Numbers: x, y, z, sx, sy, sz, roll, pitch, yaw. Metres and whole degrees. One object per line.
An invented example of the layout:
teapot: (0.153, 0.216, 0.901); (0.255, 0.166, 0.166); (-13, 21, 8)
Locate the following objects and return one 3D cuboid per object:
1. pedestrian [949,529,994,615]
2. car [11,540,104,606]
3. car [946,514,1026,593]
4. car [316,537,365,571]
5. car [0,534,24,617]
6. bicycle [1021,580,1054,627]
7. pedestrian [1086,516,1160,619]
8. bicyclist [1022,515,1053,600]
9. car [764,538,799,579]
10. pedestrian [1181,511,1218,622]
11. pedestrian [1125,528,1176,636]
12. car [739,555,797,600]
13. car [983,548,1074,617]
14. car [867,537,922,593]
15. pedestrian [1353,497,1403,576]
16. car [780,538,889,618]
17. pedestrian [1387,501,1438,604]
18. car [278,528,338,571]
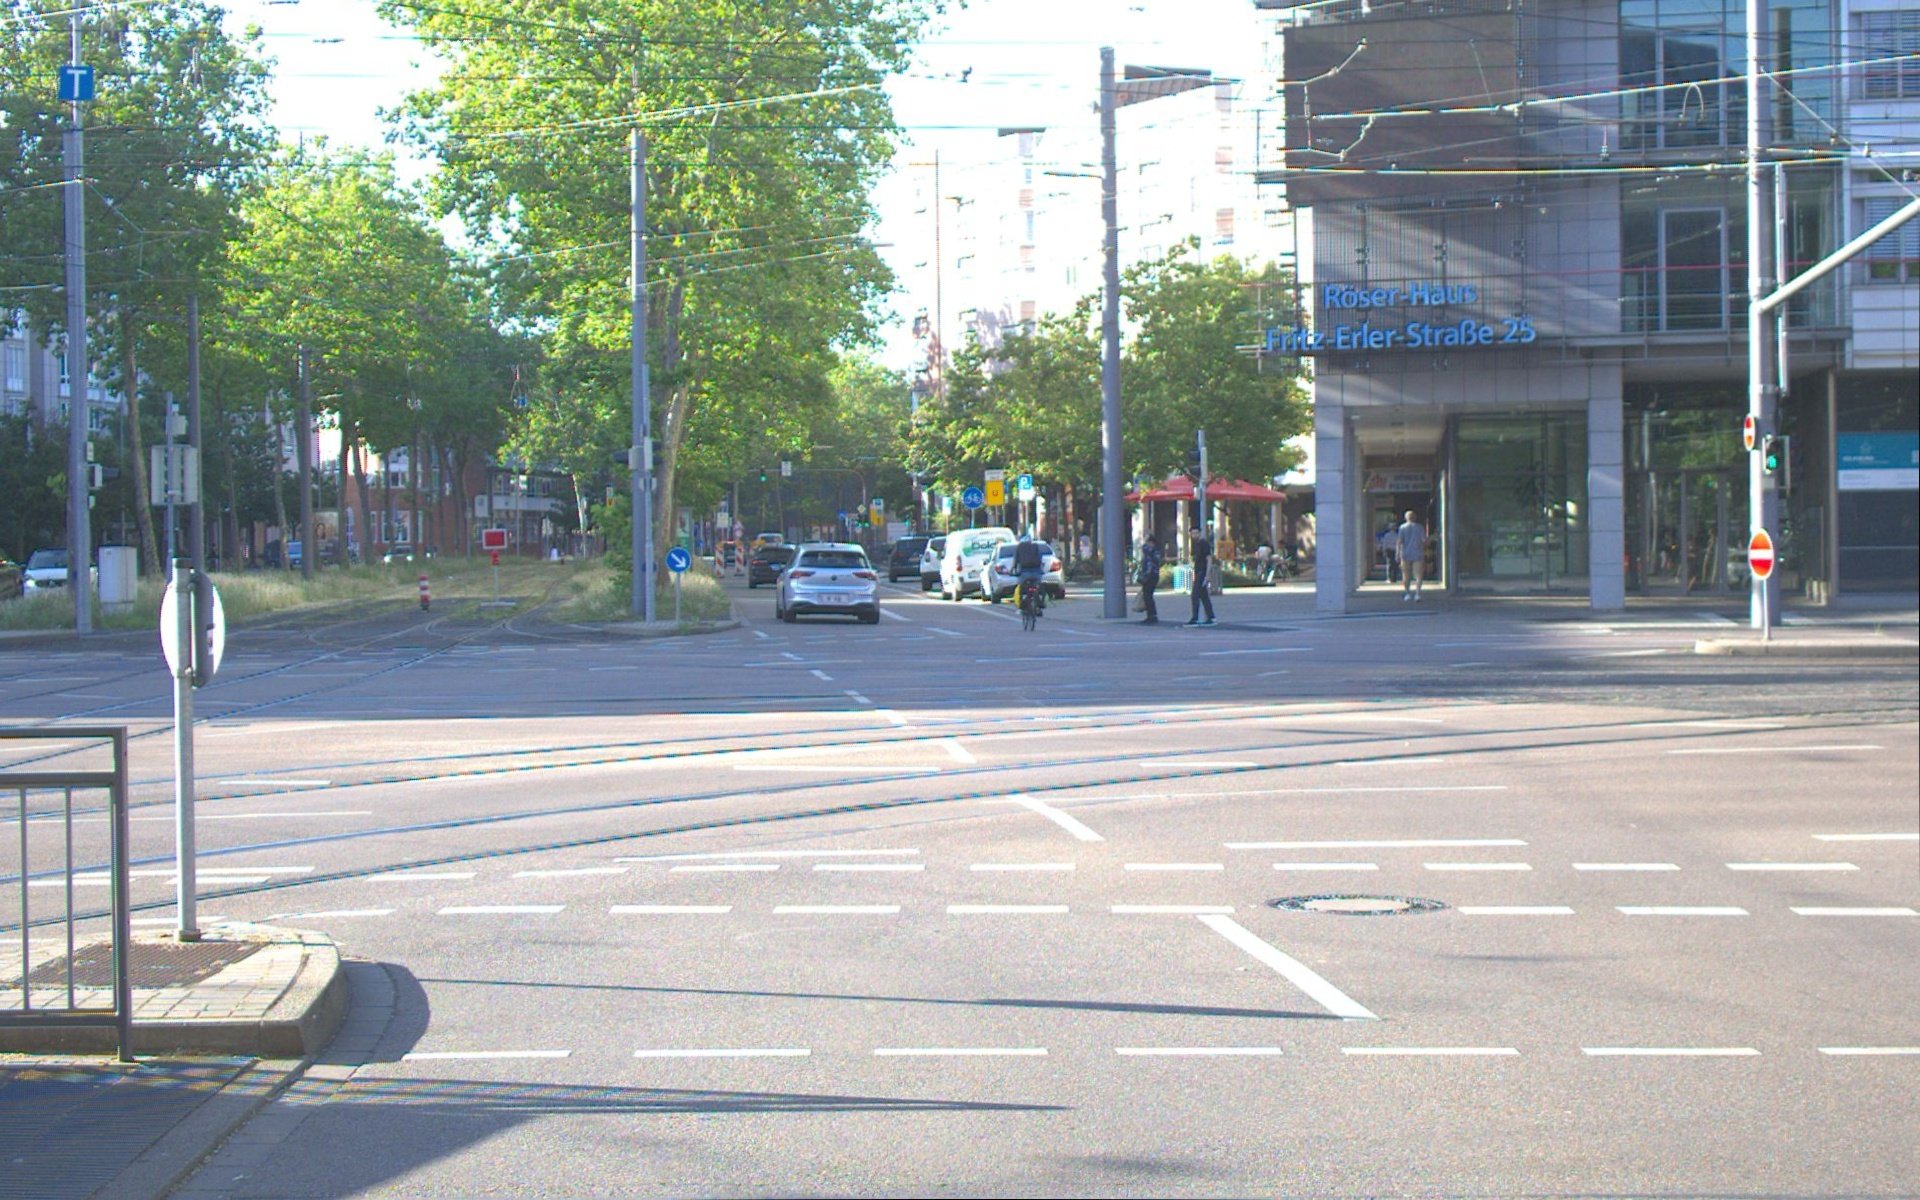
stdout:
pedestrian: (0.229, -0.555, 68.144); (0.869, 1.702, 0.794); (1, 0, -1)
car: (-22.614, -0.691, 86.253); (1.676, 1.601, 4.001); (1, 1, -6)
car: (0.656, -1.206, 89.638); (1.993, 2.007, 4.000); (1, 1, -1)
car: (-33.706, -2.527, 187.112); (1.910, 1.777, 4.000); (-1, 1, -1)
car: (-21.602, -0.527, 74.683); (1.822, 1.784, 4.001); (-1, 1, -7)
bicycle: (1.318, 0.050, 58.879); (0.490, 0.785, 1.862); (0, 1, -1)
pedestrian: (3.134, -0.627, 66.075); (1.342, 1.944, 1.011); (-1, 0, -1)
bicyclist: (1.325, -0.732, 58.755); (0.486, 1.434, 0.615); (1, 1, -1)
car: (-11.678, -2.703, 225.191); (1.993, 2.008, 3.998); (1, -9, 1)
pedestrian: (4.365, -0.612, 62.683); (0.586, 2.007, 0.620); (1, 0, 0)
pedestrian: (3.558, -0.335, 64.190); (0.849, 2.007, 0.708); (1, 0, -2)
car: (-6.202, -0.733, 110.891); (1.763, 1.399, 4.297); (0, 1, -4)
car: (1.624, -0.440, 82.800); (2.029, 1.590, 4.000); (1, 1, -1)
car: (-2.398, -1.299, 126.689); (1.993, 2.007, 4.000); (1, 1, -1)
pedestrian: (11.553, -1.752, 95.116); (1.313, 2.182, 1.170); (1, 0, 6)
car: (-2.278, -0.425, 63.065); (1.748, 1.413, 4.000); (0, 1, 1)
pedestrian: (8.950, -0.931, 68.022); (0.869, 2.007, 0.794); (1, -1, -1)
car: (-31.237, -2.444, 164.762); (1.876, 2.007, 4.471); (-1, 1, 2)
